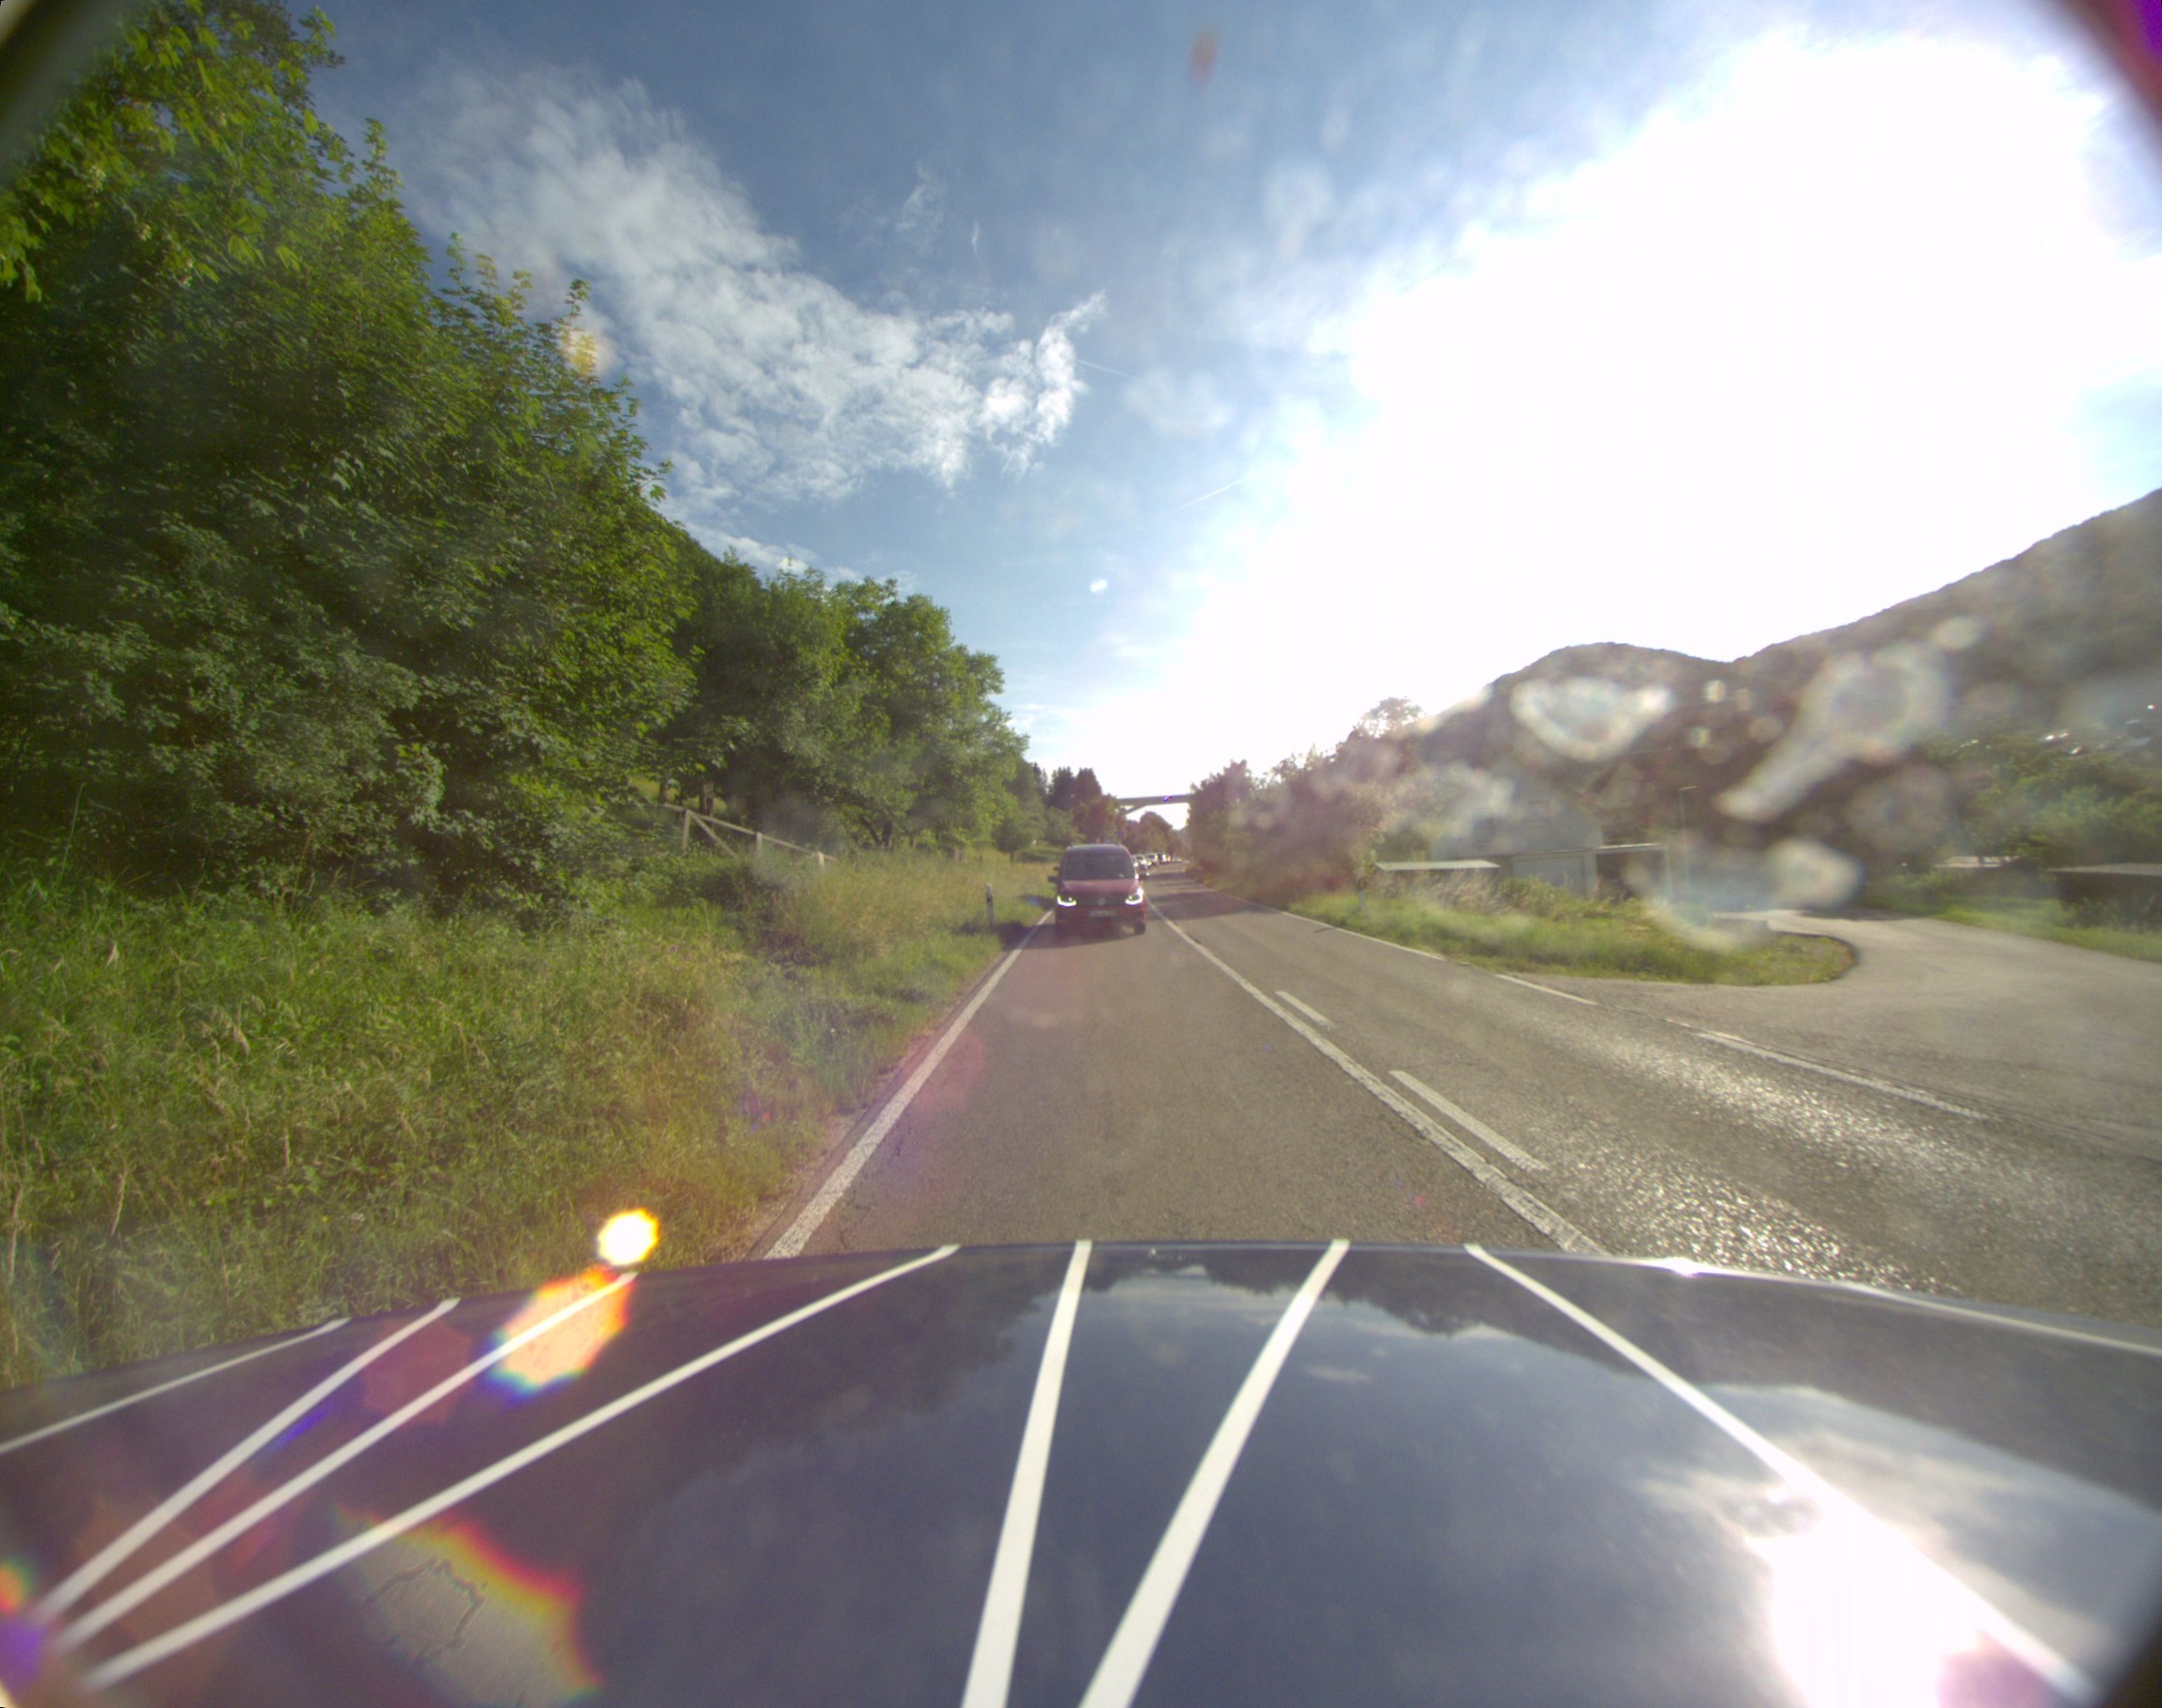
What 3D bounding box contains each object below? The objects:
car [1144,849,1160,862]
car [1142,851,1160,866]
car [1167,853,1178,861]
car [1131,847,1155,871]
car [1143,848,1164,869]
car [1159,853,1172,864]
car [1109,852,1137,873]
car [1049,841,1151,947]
[{"bbox_3d":[9.431,0.159,100.832,1.817,1.608,4.003,-1,0,10],"label":"car"},{"bbox_3d":[7.771,0.526,83.620,1.840,1.543,4.180,1,0,7],"label":"car"},{"bbox_3d":[19.998,0.624,165.476,1.840,1.543,4.181,-1,0,13],"label":"car"},{"bbox_3d":[5.396,0.410,65.876,1.914,2.002,4.002,-1,0,7],"label":"car"},{"bbox_3d":[6.983,0.407,72.988,1.914,2.002,4.002,-1,0,6],"label":"car"},{"bbox_3d":[12.886,0.635,115.730,1.817,1.608,4.003,-1,0,9],"label":"car"},{"bbox_3d":[3.325,0.654,59.253,1.840,1.543,4.180,-1,0,7],"label":"car"},{"bbox_3d":[0.404,0.716,15.707,1.772,1.855,3.875,-2,0,2],"label":"car"}]
